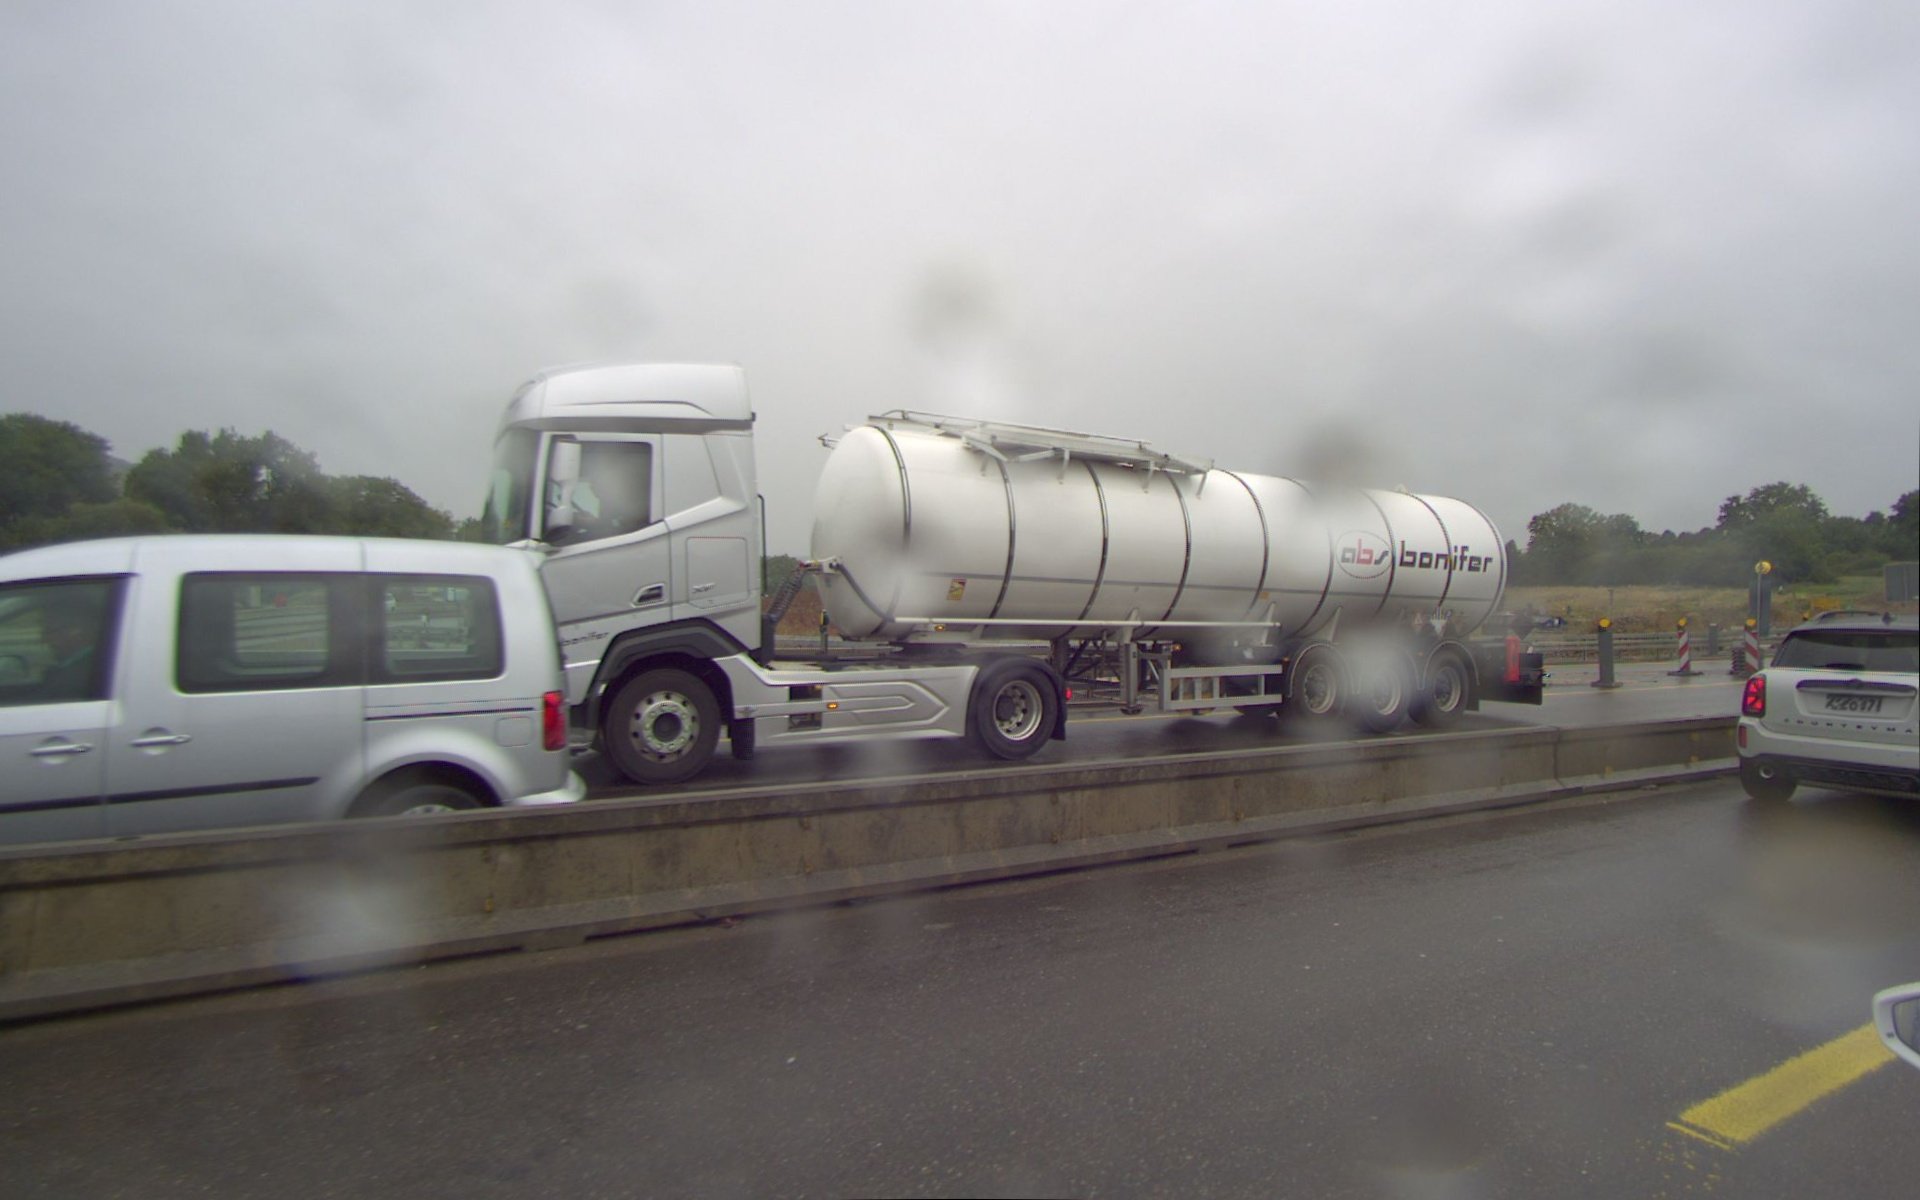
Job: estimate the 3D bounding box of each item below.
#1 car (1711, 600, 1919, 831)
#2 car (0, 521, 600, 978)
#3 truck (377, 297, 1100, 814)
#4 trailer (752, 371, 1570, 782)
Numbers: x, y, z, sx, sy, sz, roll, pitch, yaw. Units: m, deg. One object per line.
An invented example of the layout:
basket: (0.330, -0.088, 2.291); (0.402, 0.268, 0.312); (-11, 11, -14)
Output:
car: (8.399, 0.850, 8.492); (4.258, 1.621, 1.807); (1, -1, -31)
car: (-4.092, 0.604, 4.926); (4.114, 1.824, 1.857); (2, -1, -30)
truck: (-2.002, -0.245, 10.034); (6.518, 3.726, 2.608); (2, -1, -31)
trailer: (3.427, -0.069, 13.248); (11.864, 3.726, 2.608); (2, -1, -31)
